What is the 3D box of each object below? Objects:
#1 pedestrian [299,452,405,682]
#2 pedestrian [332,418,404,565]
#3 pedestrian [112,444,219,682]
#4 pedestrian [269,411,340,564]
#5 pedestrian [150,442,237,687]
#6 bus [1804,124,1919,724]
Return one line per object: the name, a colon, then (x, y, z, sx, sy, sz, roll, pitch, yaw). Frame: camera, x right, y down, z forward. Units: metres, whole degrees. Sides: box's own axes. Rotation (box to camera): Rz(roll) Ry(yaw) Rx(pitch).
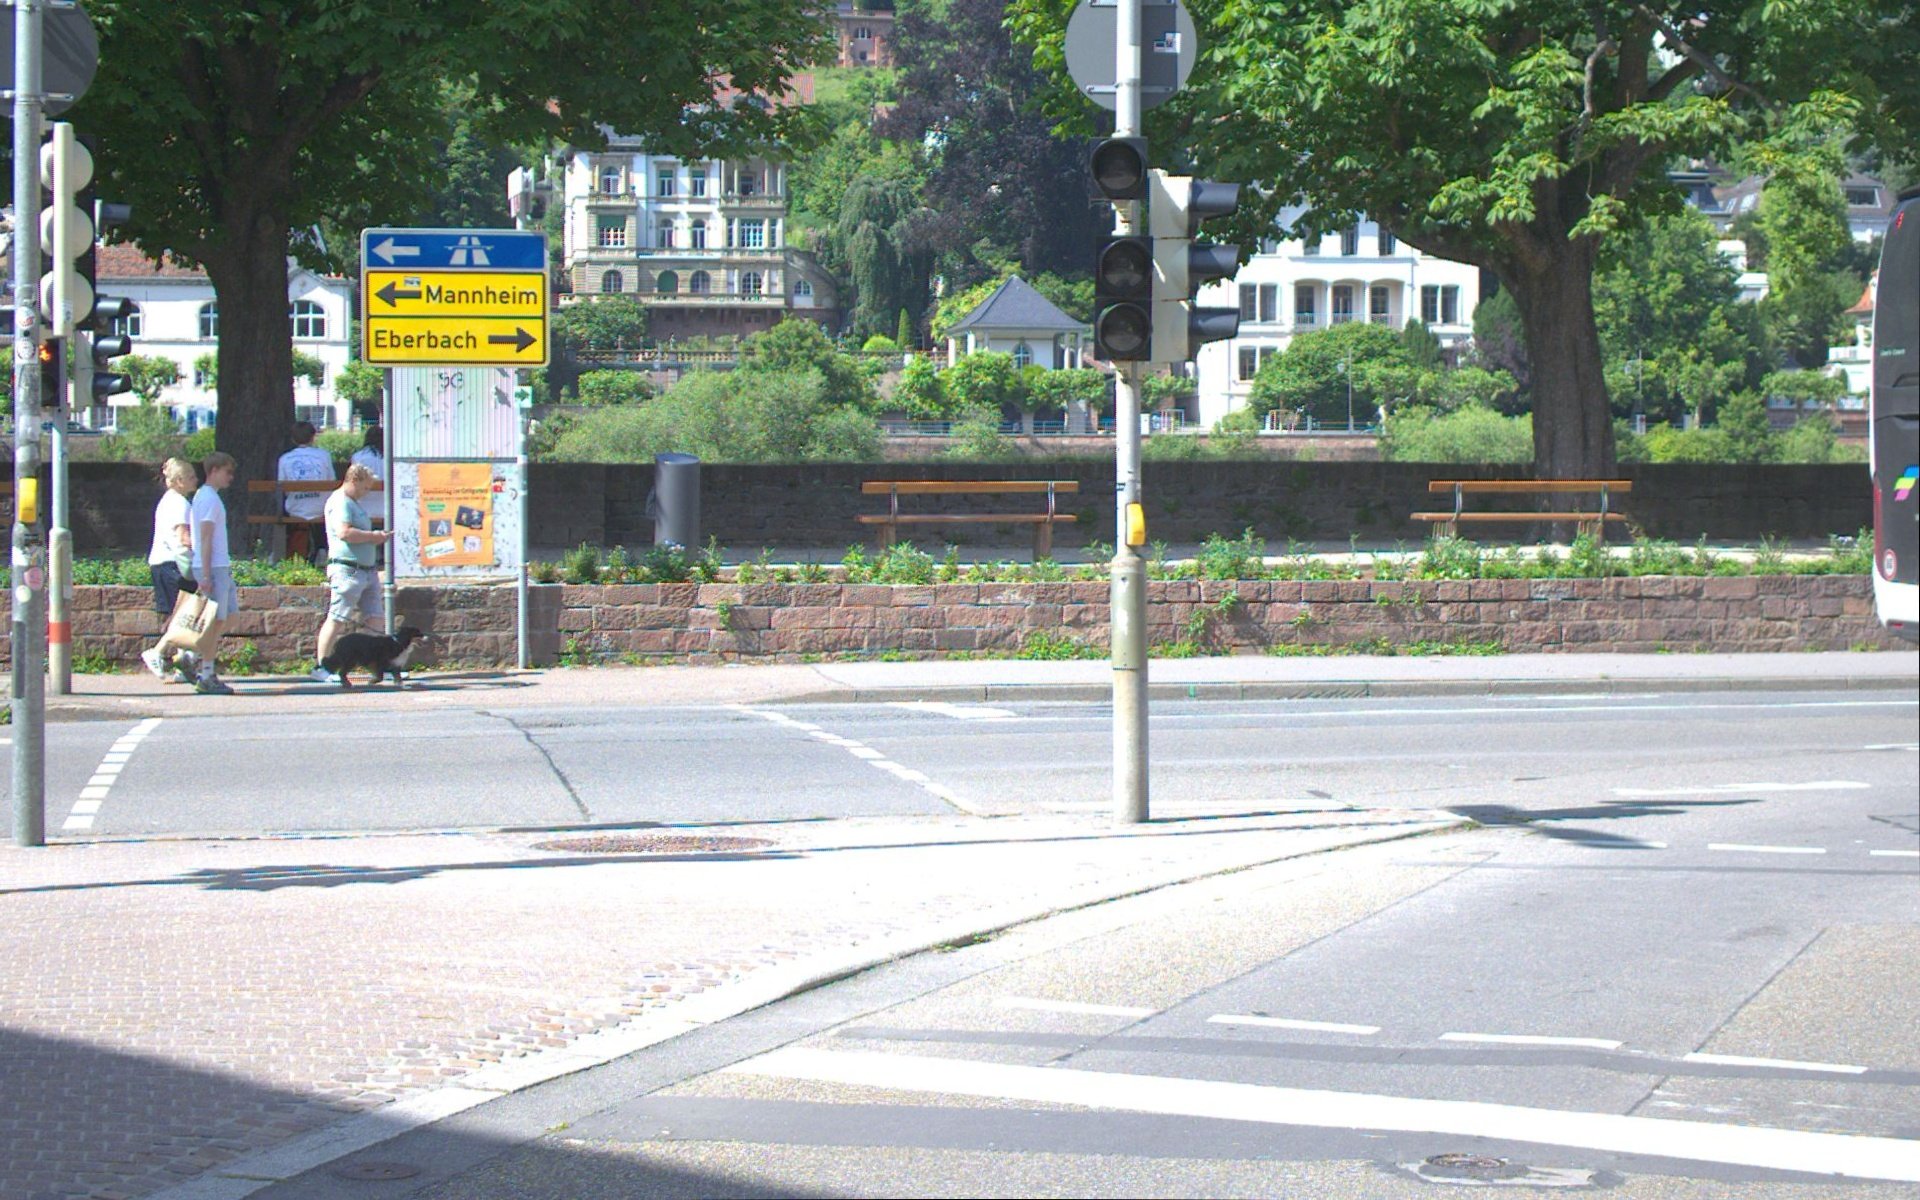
pedestrian: (-4.756, -0.258, 26.890, 0.688, 1.763, 0.718, -1, 0, -18)
pedestrian: (-5.248, -0.947, 30.444, 0.553, 1.224, 0.986, 2, -2, -12)
pedestrian: (-6.105, -0.282, 26.450, 0.721, 1.795, 0.634, -1, 0, -9)
pedestrian: (-5.743, -0.979, 30.131, 0.553, 1.275, 0.704, 2, -2, -11)
pedestrian: (-5.707, -0.270, 25.632, 0.578, 1.795, 0.705, 0, 1, -9)
bus: (11.933, -1.130, 23.123, 12.136, 3.775, 2.908, 0, 1, -13)
